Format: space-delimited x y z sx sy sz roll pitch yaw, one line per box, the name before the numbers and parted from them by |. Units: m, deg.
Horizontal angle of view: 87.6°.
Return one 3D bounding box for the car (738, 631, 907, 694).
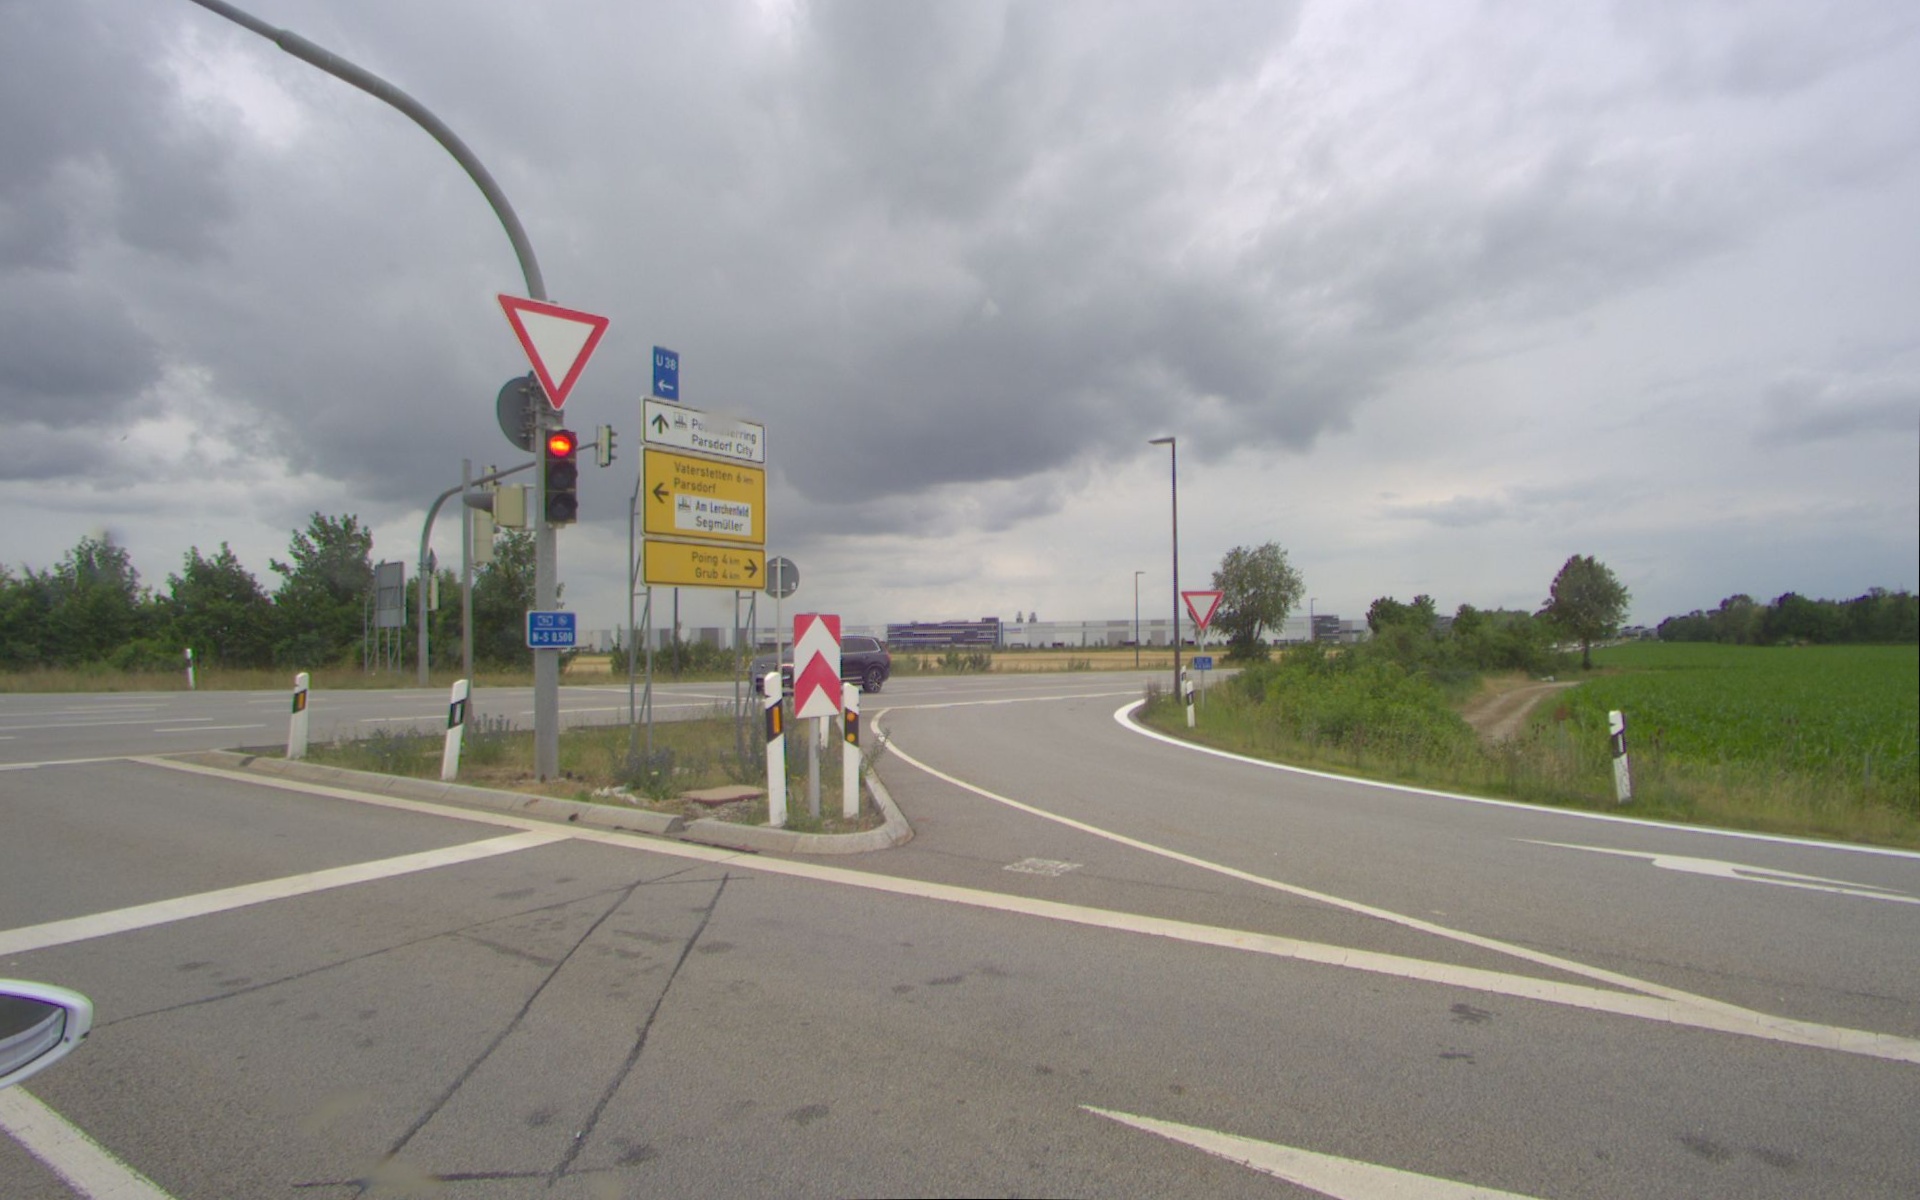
car | -3.984 1.833 29.781 1.977 1.705 4.961 -2 -3 41
